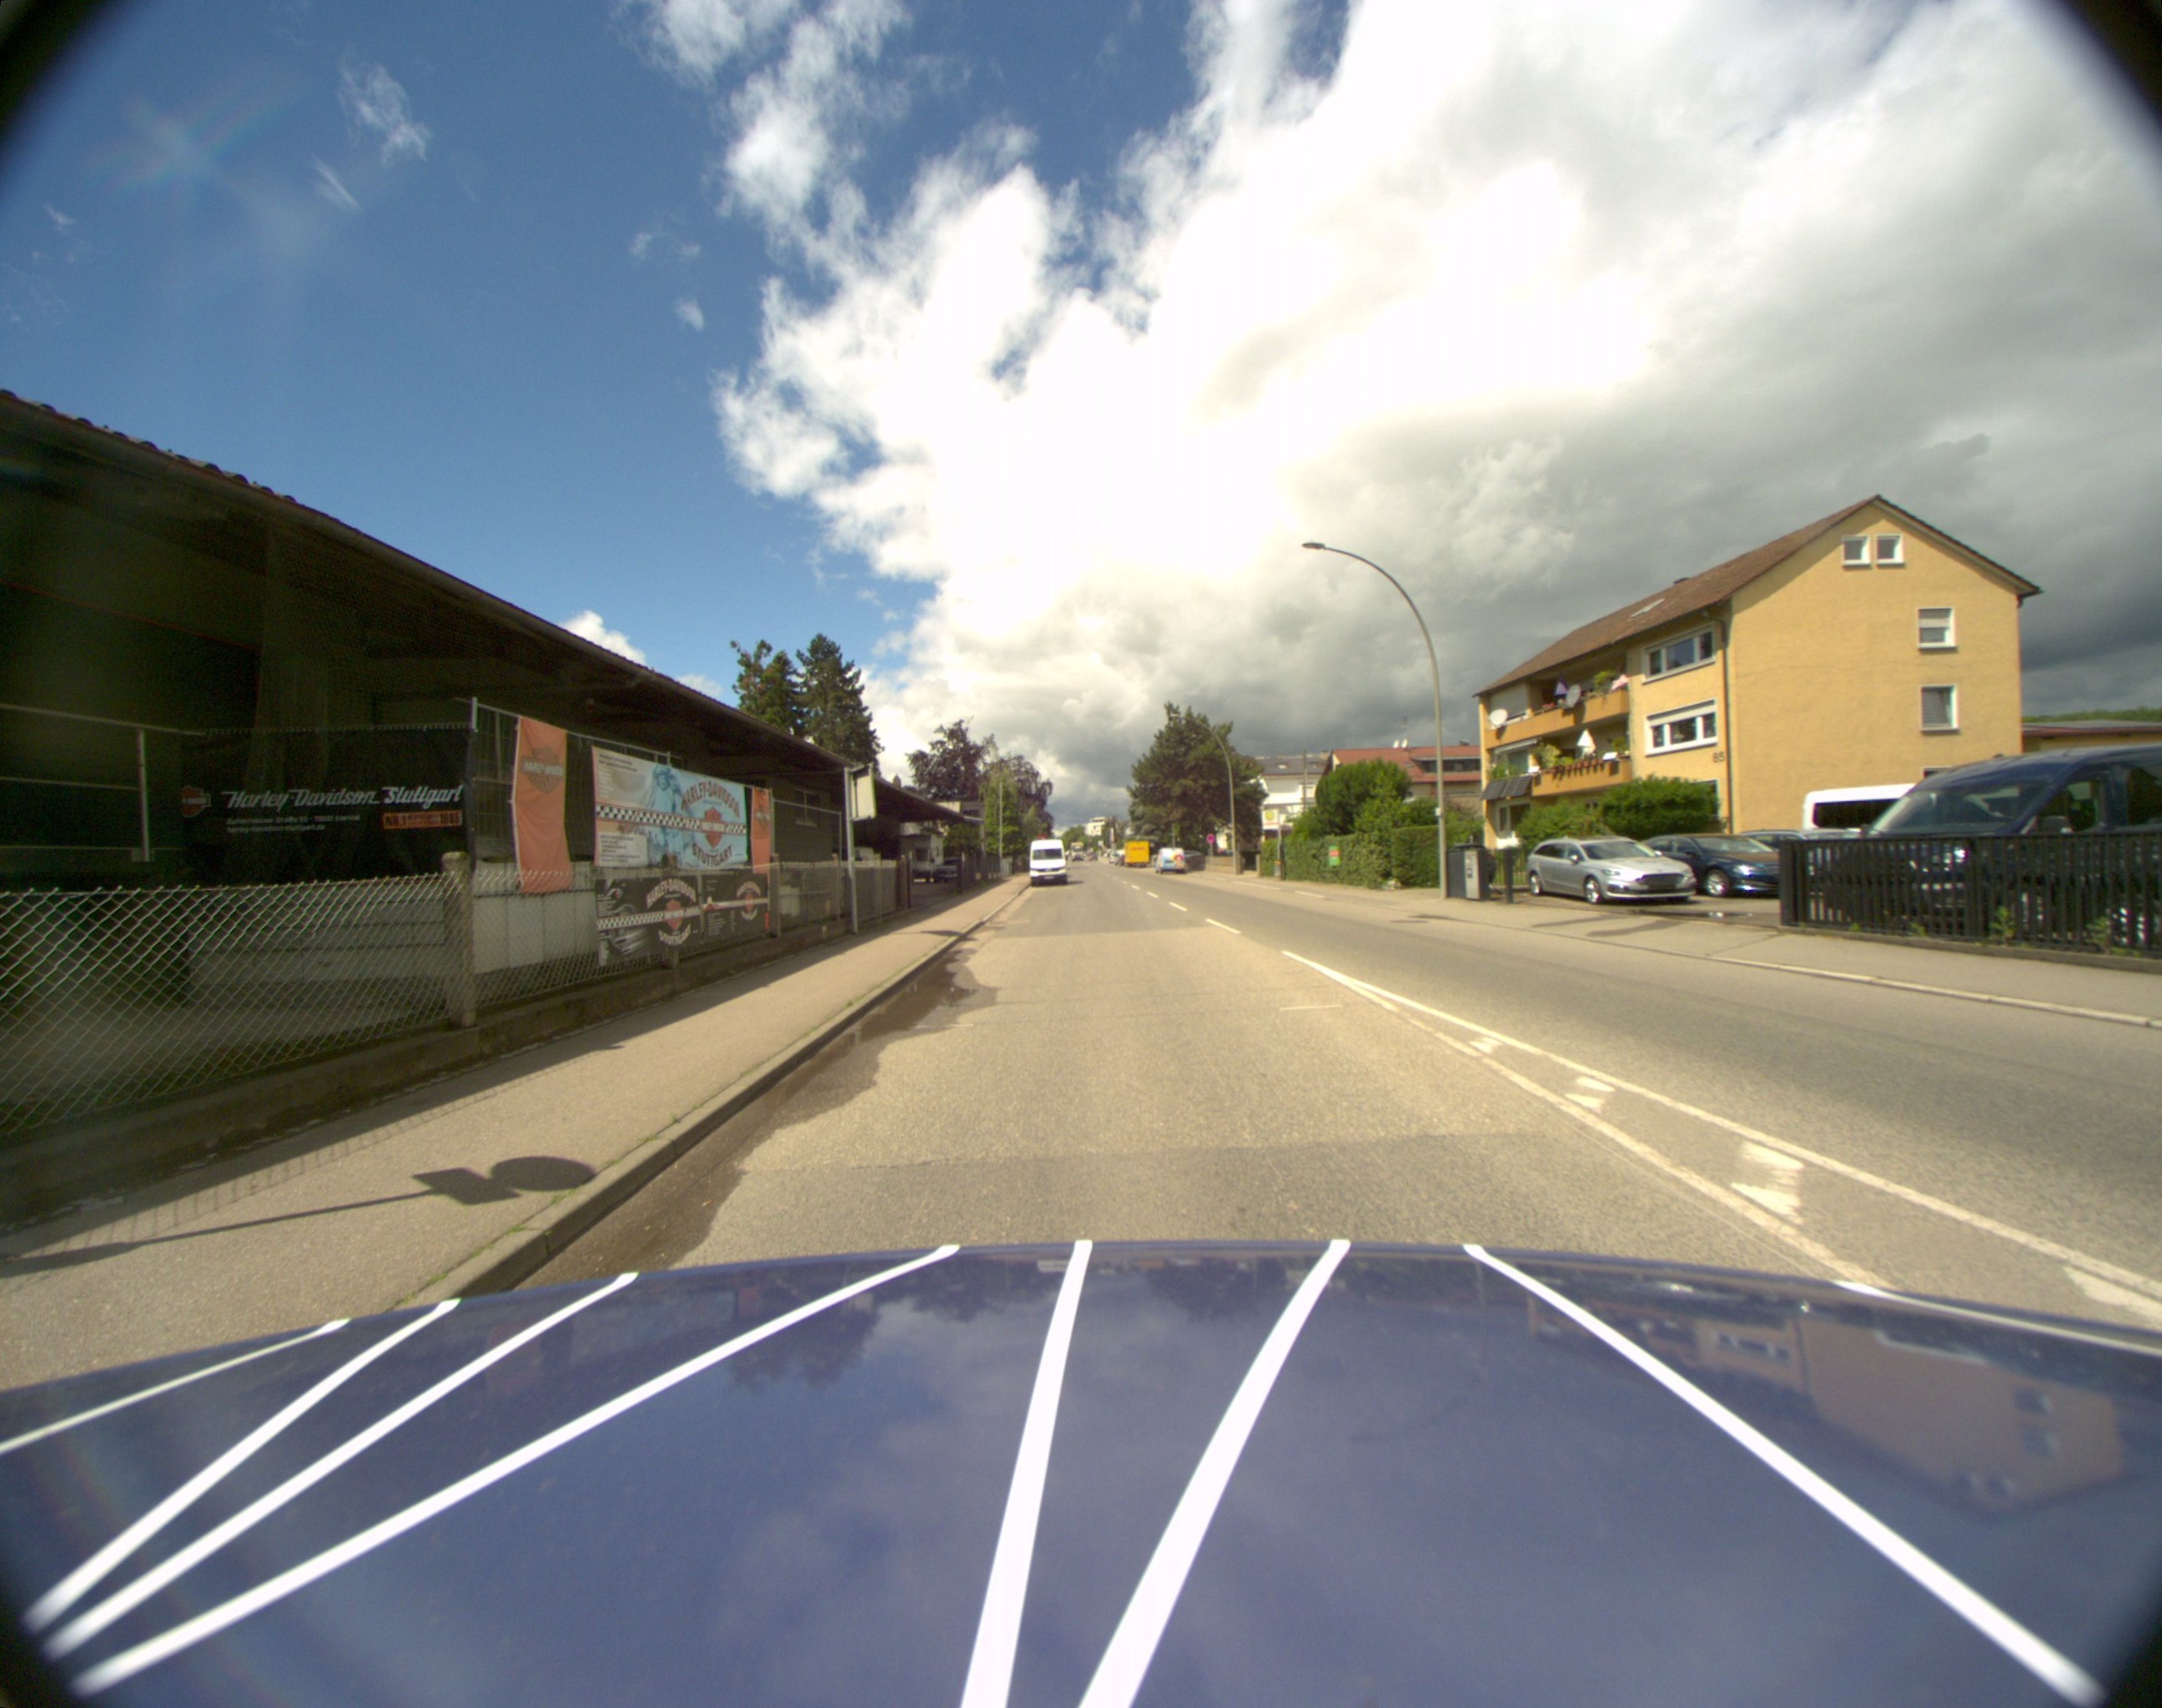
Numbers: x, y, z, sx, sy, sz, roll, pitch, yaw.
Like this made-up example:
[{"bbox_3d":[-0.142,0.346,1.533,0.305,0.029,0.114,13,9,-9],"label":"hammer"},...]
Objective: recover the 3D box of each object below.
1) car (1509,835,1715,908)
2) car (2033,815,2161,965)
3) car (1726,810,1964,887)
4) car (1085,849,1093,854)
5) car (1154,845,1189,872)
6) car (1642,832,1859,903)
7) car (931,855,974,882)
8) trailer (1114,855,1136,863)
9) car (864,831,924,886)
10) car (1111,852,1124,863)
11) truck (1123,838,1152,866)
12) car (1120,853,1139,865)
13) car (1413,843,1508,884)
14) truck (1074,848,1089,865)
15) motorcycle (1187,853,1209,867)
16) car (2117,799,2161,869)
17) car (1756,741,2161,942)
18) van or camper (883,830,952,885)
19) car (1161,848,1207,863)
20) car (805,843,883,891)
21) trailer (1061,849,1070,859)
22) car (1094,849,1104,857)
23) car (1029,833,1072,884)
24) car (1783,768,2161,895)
[{"bbox_3d":[12.449,0.344,18.352,1.997,1.477,5.344,-2,0,10],"label":"car"},{"bbox_3d":[12.482,0.349,6.968,2.037,1.585,4.283,-2,0,-4],"label":"car"},{"bbox_3d":[17.832,-0.129,18.083,1.848,1.568,4.334,-1,0,11],"label":"car"},{"bbox_3d":[2.379,-0.662,224.415,1.987,1.412,3.999,-1,0,-3],"label":"car"},{"bbox_3d":[6.560,0.320,55.579,1.838,1.842,4.895,1,-1,-1],"label":"car"},{"bbox_3d":[15.370,0.273,17.803,1.848,1.418,4.334,-1,0,11],"label":"car"},{"bbox_3d":[-7.500,0.827,44.768,1.769,1.480,4.926,-2,0,-1],"label":"car"},{"bbox_3d":[5.714,0.660,99.590,2.324,0.985,7.458,0,0,-1],"label":"trailer"},{"bbox_3d":[-9.961,0.274,40.911,2.023,2.665,5.497,-2,-1,-2],"label":"car"},{"bbox_3d":[5.660,0.471,117.291,1.809,1.666,4.127,0,0,-1],"label":"car"},{"bbox_3d":[6.290,-0.191,85.571,2.330,2.986,7.816,0,0,-2],"label":"truck"},{"bbox_3d":[5.934,0.579,93.278,1.999,1.445,4.811,2,0,-1],"label":"car"},{"bbox_3d":[14.259,0.323,28.847,1.848,1.418,4.332,-2,0,7],"label":"car"},{"bbox_3d":[0.081,0.511,163.309,2.880,3.290,8.605,-4,1,-1],"label":"truck"},{"bbox_3d":[10.553,0.525,68.480,1.872,1.159,0.825,-2,0,16],"label":"motorcycle"},{"bbox_3d":[28.635,-0.535,18.168,1.849,1.781,4.330,-2,0,0],"label":"car"},{"bbox_3d":[13.832,-0.204,10.931,6.053,2.482,2.477,-2,0,-1],"label":"car"},{"bbox_3d":[-9.932,0.211,46.935,2.889,3.043,6.911,-2,0,-2],"label":"van or camper"},{"bbox_3d":[11.907,0.113,88.000,5.021,1.543,1.972,-2,1,-2],"label":"car"},{"bbox_3d":[-10.489,0.563,34.049,1.999,1.898,4.853,-2,0,-1],"label":"car"},{"bbox_3d":[-3.620,-0.039,177.291,2.045,2.214,5.078,-1,0,0],"label":"trailer"},{"bbox_3d":[3.728,-0.163,157.248,1.906,1.509,4.317,-1,0,-2],"label":"car"},{"bbox_3d":[-1.720,0.234,43.774,2.221,2.673,6.656,-1,0,-2],"label":"car"},{"bbox_3d":[20.566,-0.448,17.941,2.418,2.481,6.135,0,0,2],"label":"car"}]
